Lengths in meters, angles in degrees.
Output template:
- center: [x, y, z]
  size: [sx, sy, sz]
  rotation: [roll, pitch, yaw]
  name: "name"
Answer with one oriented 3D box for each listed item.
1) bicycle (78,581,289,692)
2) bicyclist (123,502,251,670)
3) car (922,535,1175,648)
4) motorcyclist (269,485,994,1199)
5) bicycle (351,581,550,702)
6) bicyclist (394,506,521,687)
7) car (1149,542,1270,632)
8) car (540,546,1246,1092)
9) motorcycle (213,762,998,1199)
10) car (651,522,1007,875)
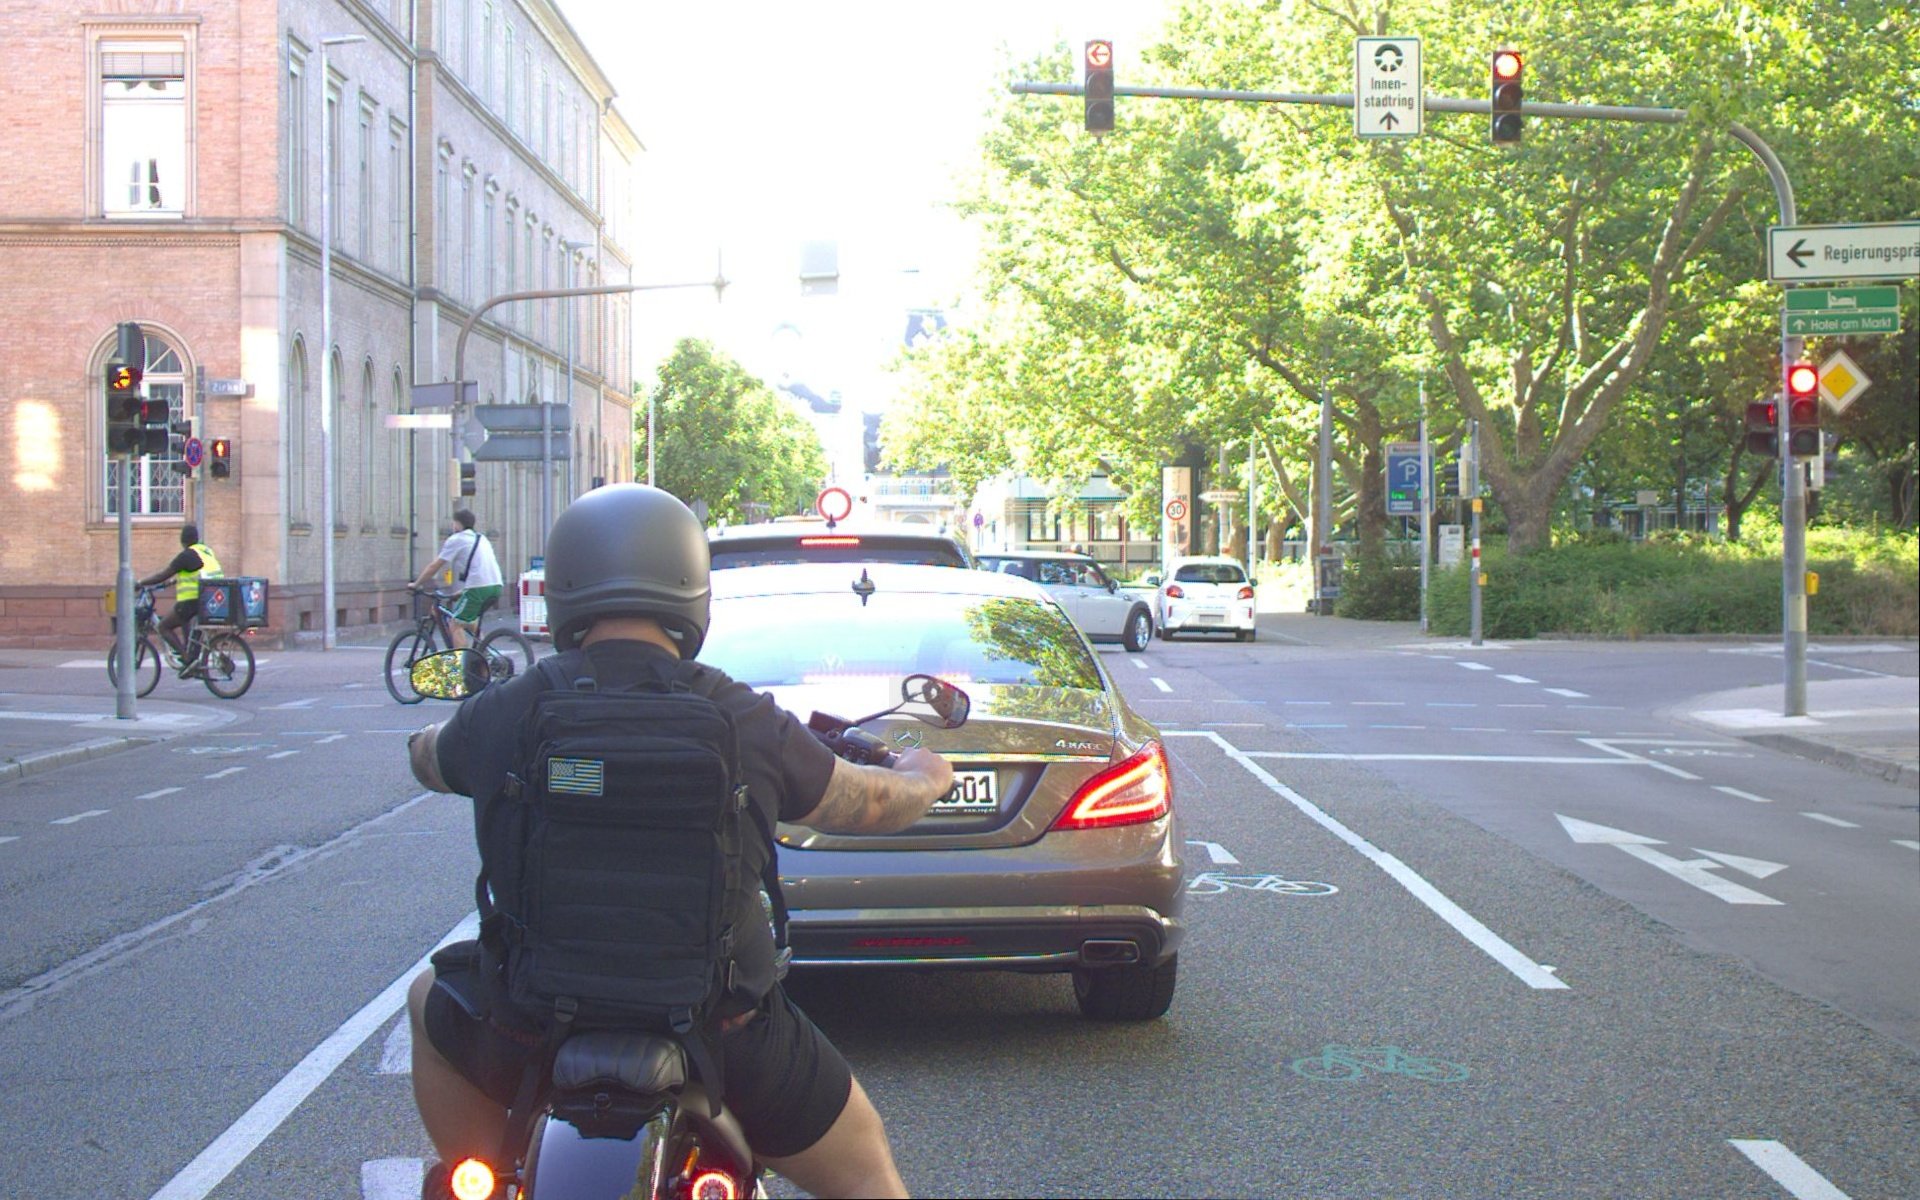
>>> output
- center: [-7.963, 0.376, 35.227]
  size: [2.160, 1.099, 0.704]
  rotation: [-1, 0, 29]
  name: "bicycle"
- center: [-7.906, -0.142, 35.175]
  size: [1.046, 1.689, 0.704]
  rotation: [-1, 0, 29]
  name: "bicyclist"
- center: [1.279, -0.135, 48.000]
  size: [1.824, 1.475, 3.902]
  rotation: [-1, 1, 31]
  name: "car"
- center: [-0.457, 0.625, 5.412]
  size: [0.989, 1.591, 1.404]
  rotation: [0, 1, -1]
  name: "motorcyclist"
- center: [-4.831, 0.376, 32.583]
  size: [1.877, 1.099, 0.704]
  rotation: [0, 1, 34]
  name: "bicycle"
- center: [-4.755, -0.043, 32.516]
  size: [0.963, 1.687, 0.704]
  rotation: [0, 1, 34]
  name: "bicyclist"
- center: [4.355, -0.240, 59.663]
  size: [1.856, 1.481, 3.907]
  rotation: [1, 1, 7]
  name: "car"
- center: [-0.437, 0.559, 11.606]
  size: [1.945, 1.468, 4.363]
  rotation: [0, 1, -7]
  name: "car"
- center: [-0.461, 0.881, 5.570]
  size: [0.989, 1.075, 2.452]
  rotation: [0, 1, -1]
  name: "motorcycle"
- center: [-0.643, 0.408, 17.772]
  size: [1.612, 1.602, 4.329]
  rotation: [0, 1, -1]
  name: "car"
